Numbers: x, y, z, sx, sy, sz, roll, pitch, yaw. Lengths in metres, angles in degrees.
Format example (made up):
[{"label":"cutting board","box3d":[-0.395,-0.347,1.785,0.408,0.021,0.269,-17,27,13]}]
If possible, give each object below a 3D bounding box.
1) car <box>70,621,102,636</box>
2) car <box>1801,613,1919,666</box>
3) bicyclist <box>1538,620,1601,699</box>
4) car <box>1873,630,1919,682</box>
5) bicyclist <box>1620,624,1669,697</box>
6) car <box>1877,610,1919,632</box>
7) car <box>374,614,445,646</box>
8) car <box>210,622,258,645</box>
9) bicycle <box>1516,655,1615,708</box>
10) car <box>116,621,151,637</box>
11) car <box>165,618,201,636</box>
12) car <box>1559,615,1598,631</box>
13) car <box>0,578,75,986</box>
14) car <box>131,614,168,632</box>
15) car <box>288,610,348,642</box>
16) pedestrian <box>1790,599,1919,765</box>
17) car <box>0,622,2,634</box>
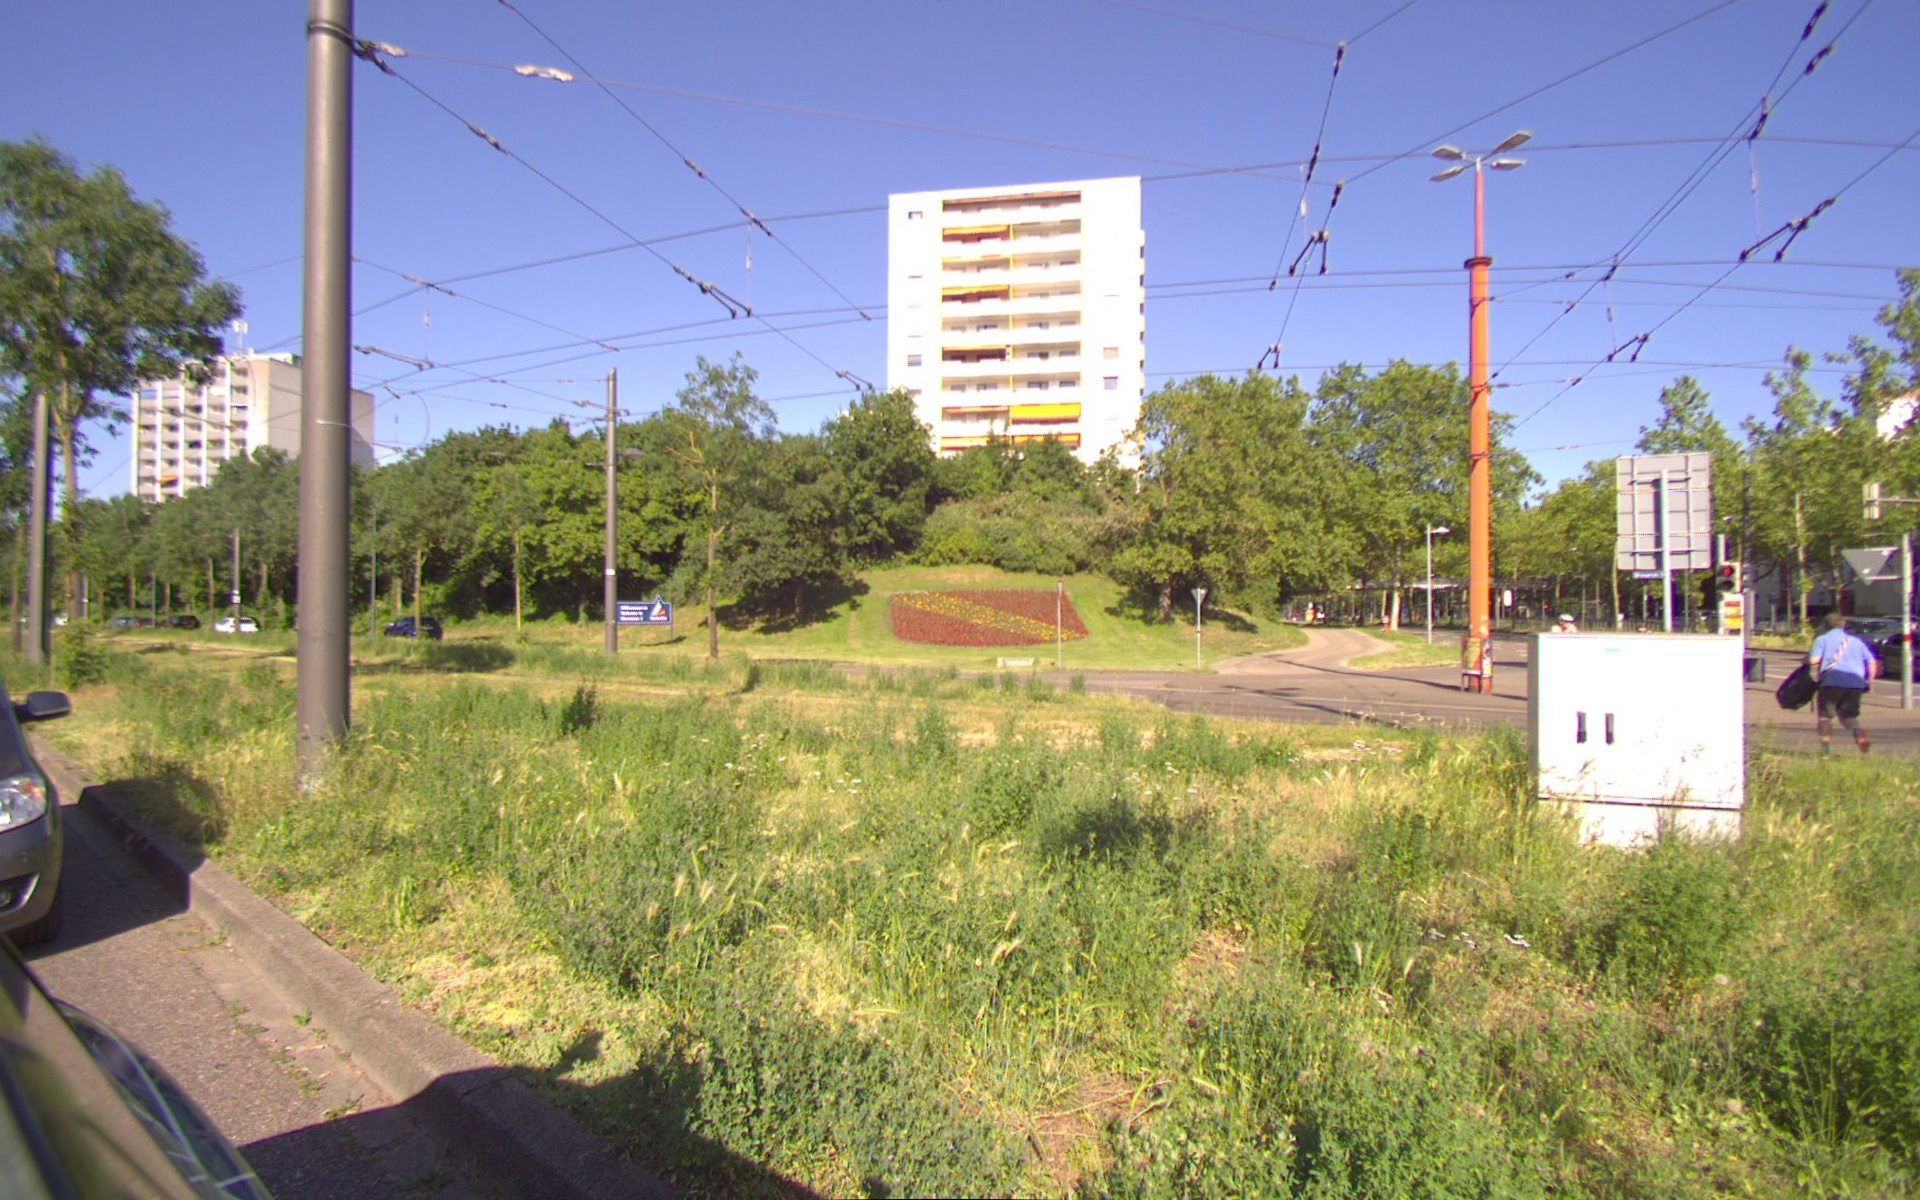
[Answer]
[{"label":"car","box3d":[-81.568,2.648,94.461,4.000,1.429,1.842,-1,-2,43]},{"label":"car","box3d":[31.291,1.324,34.819,1.833,1.721,4.288,-1,-2,13]},{"label":"bicyclist","box3d":[12.229,1.178,20.313,0.719,1.557,0.770,0,-2,-20]},{"label":"car","box3d":[26.285,1.483,26.423,1.748,1.360,4.343,-1,-1,14]},{"label":"bicyclist","box3d":[13.368,1.167,19.765,0.435,1.391,0.631,0,-2,-20]},{"label":"car","box3d":[64.890,1.414,68.407,1.770,1.420,4.010,1,-1,-36]},{"label":"car","box3d":[-28.912,1.569,53.112,4.105,1.586,1.973,-1,-2,41]},{"label":"car","box3d":[-46.436,2.118,64.721,4.020,1.418,1.671,-1,-2,42]},{"label":"bicycle","box3d":[12.153,1.616,20.372,0.673,0.968,1.650,0,-1,-20]},{"label":"car","box3d":[-75.338,2.646,92.194,3.998,1.429,1.843,-1,-2,41]},{"label":"car","box3d":[-65.075,2.261,84.713,4.242,1.519,1.768,-1,-2,44]},{"label":"car","box3d":[79.732,3.017,130.490,3.969,2.029,1.987,-1,-1,20]},{"label":"car","box3d":[-5.734,0.750,4.851,3.879,1.634,1.737,-1,-2,41]},{"label":"car","box3d":[-64.938,1.836,81.054,4.311,1.427,1.775,-1,-2,44]},{"label":"car","box3d":[-40.987,1.667,64.577,4.905,1.981,1.972,-1,-2,42]},{"label":"pedestrian","box3d":[10.324,0.908,11.644,0.949,1.807,0.979,-1,-1,26]},{"label":"car","box3d":[-124.289,3.569,129.446,3.990,1.475,1.782,-1,-2,35]}]
